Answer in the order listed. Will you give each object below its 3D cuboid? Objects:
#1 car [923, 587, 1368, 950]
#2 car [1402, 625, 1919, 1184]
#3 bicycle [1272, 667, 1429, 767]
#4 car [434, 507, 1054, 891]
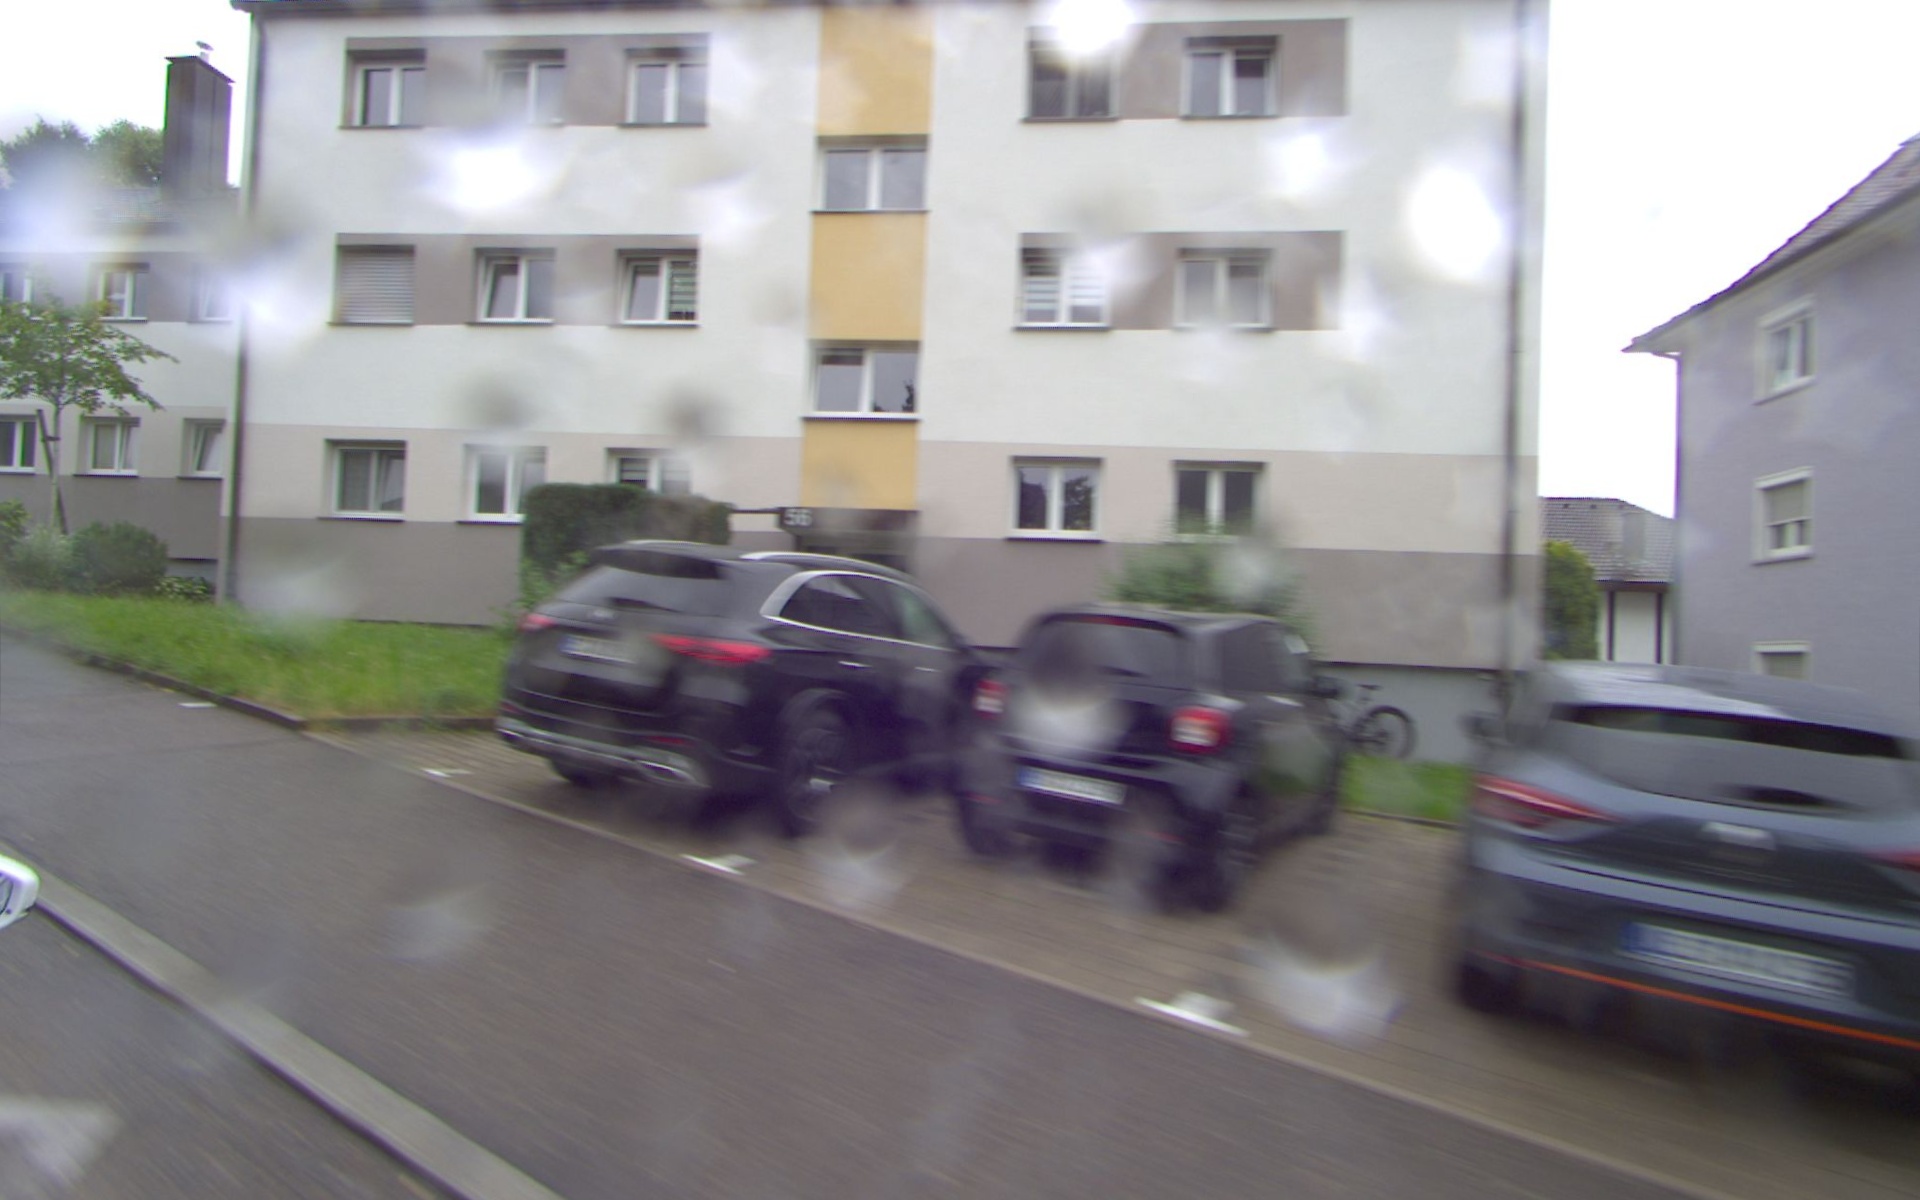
[{"bbox_3d":[1.428,0.846,6.486,1.639,1.516,3.442,7,1,30],"label":"car"},{"bbox_3d":[3.311,0.992,4.807,1.695,1.477,3.747,7,1,30],"label":"car"},{"bbox_3d":[4.861,1.447,12.588,1.650,1.002,0.573,7,0,6],"label":"bicycle"},{"bbox_3d":[-1.024,0.514,7.129,1.823,1.682,4.535,7,1,25],"label":"car"}]
